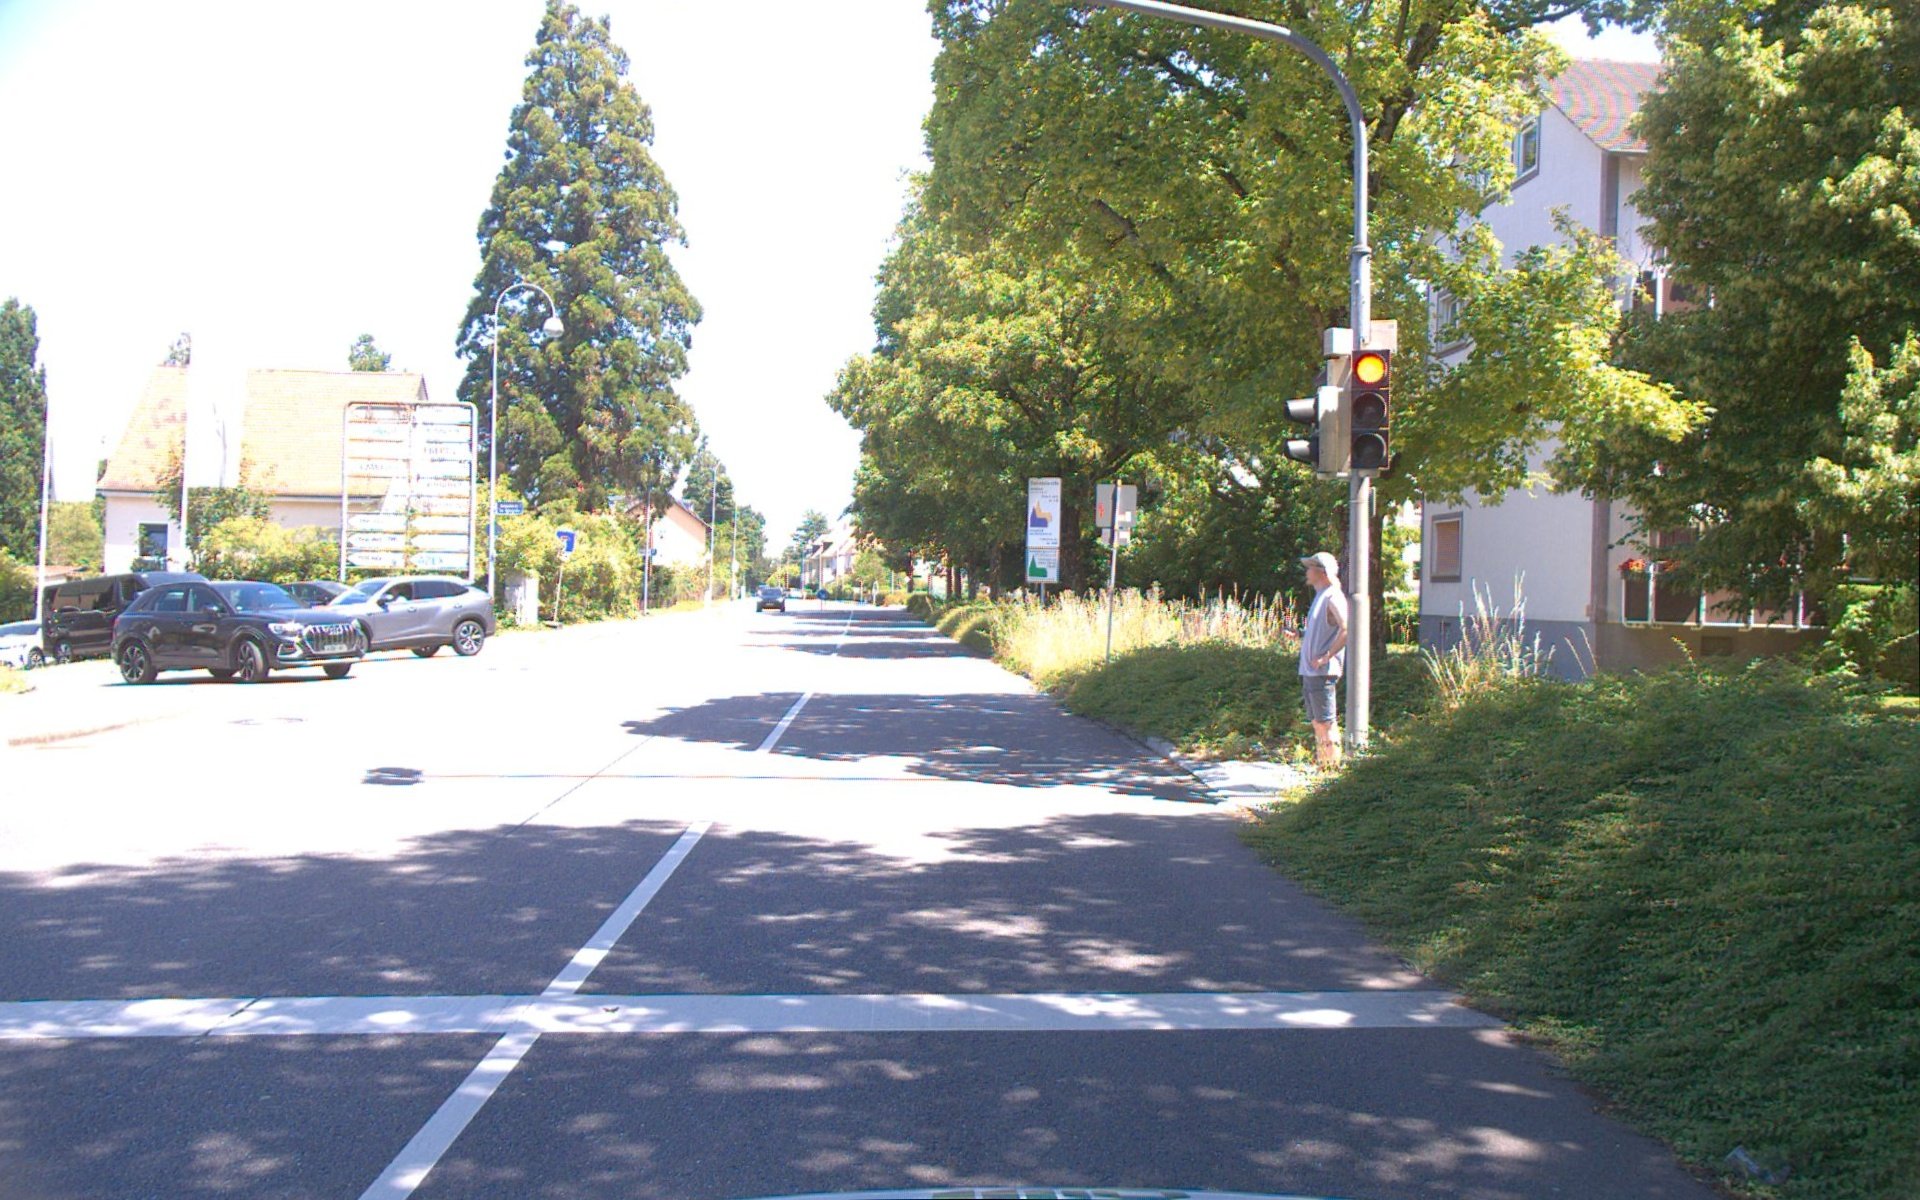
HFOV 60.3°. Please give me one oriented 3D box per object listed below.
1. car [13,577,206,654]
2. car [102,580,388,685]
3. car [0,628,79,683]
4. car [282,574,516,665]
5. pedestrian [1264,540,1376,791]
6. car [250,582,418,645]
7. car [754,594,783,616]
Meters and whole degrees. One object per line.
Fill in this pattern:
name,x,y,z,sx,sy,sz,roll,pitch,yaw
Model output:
car,-18.704,0.320,36.491,3.425,1.645,1.598,0,0,-8
car,-11.348,0.467,26.248,4.209,1.553,1.926,0,0,27
car,-24.501,1.411,42.958,1.713,1.247,3.240,1,0,-5
car,-11.519,0.374,34.201,1.849,1.747,4.291,1,0,38
pedestrian,2.636,0.469,12.142,0.552,1.781,0.612,1,0,-19
car,-14.779,0.299,39.173,3.425,1.452,1.598,0,0,-8
car,-12.048,0.321,104.178,1.402,1.345,3.354,1,0,-1
